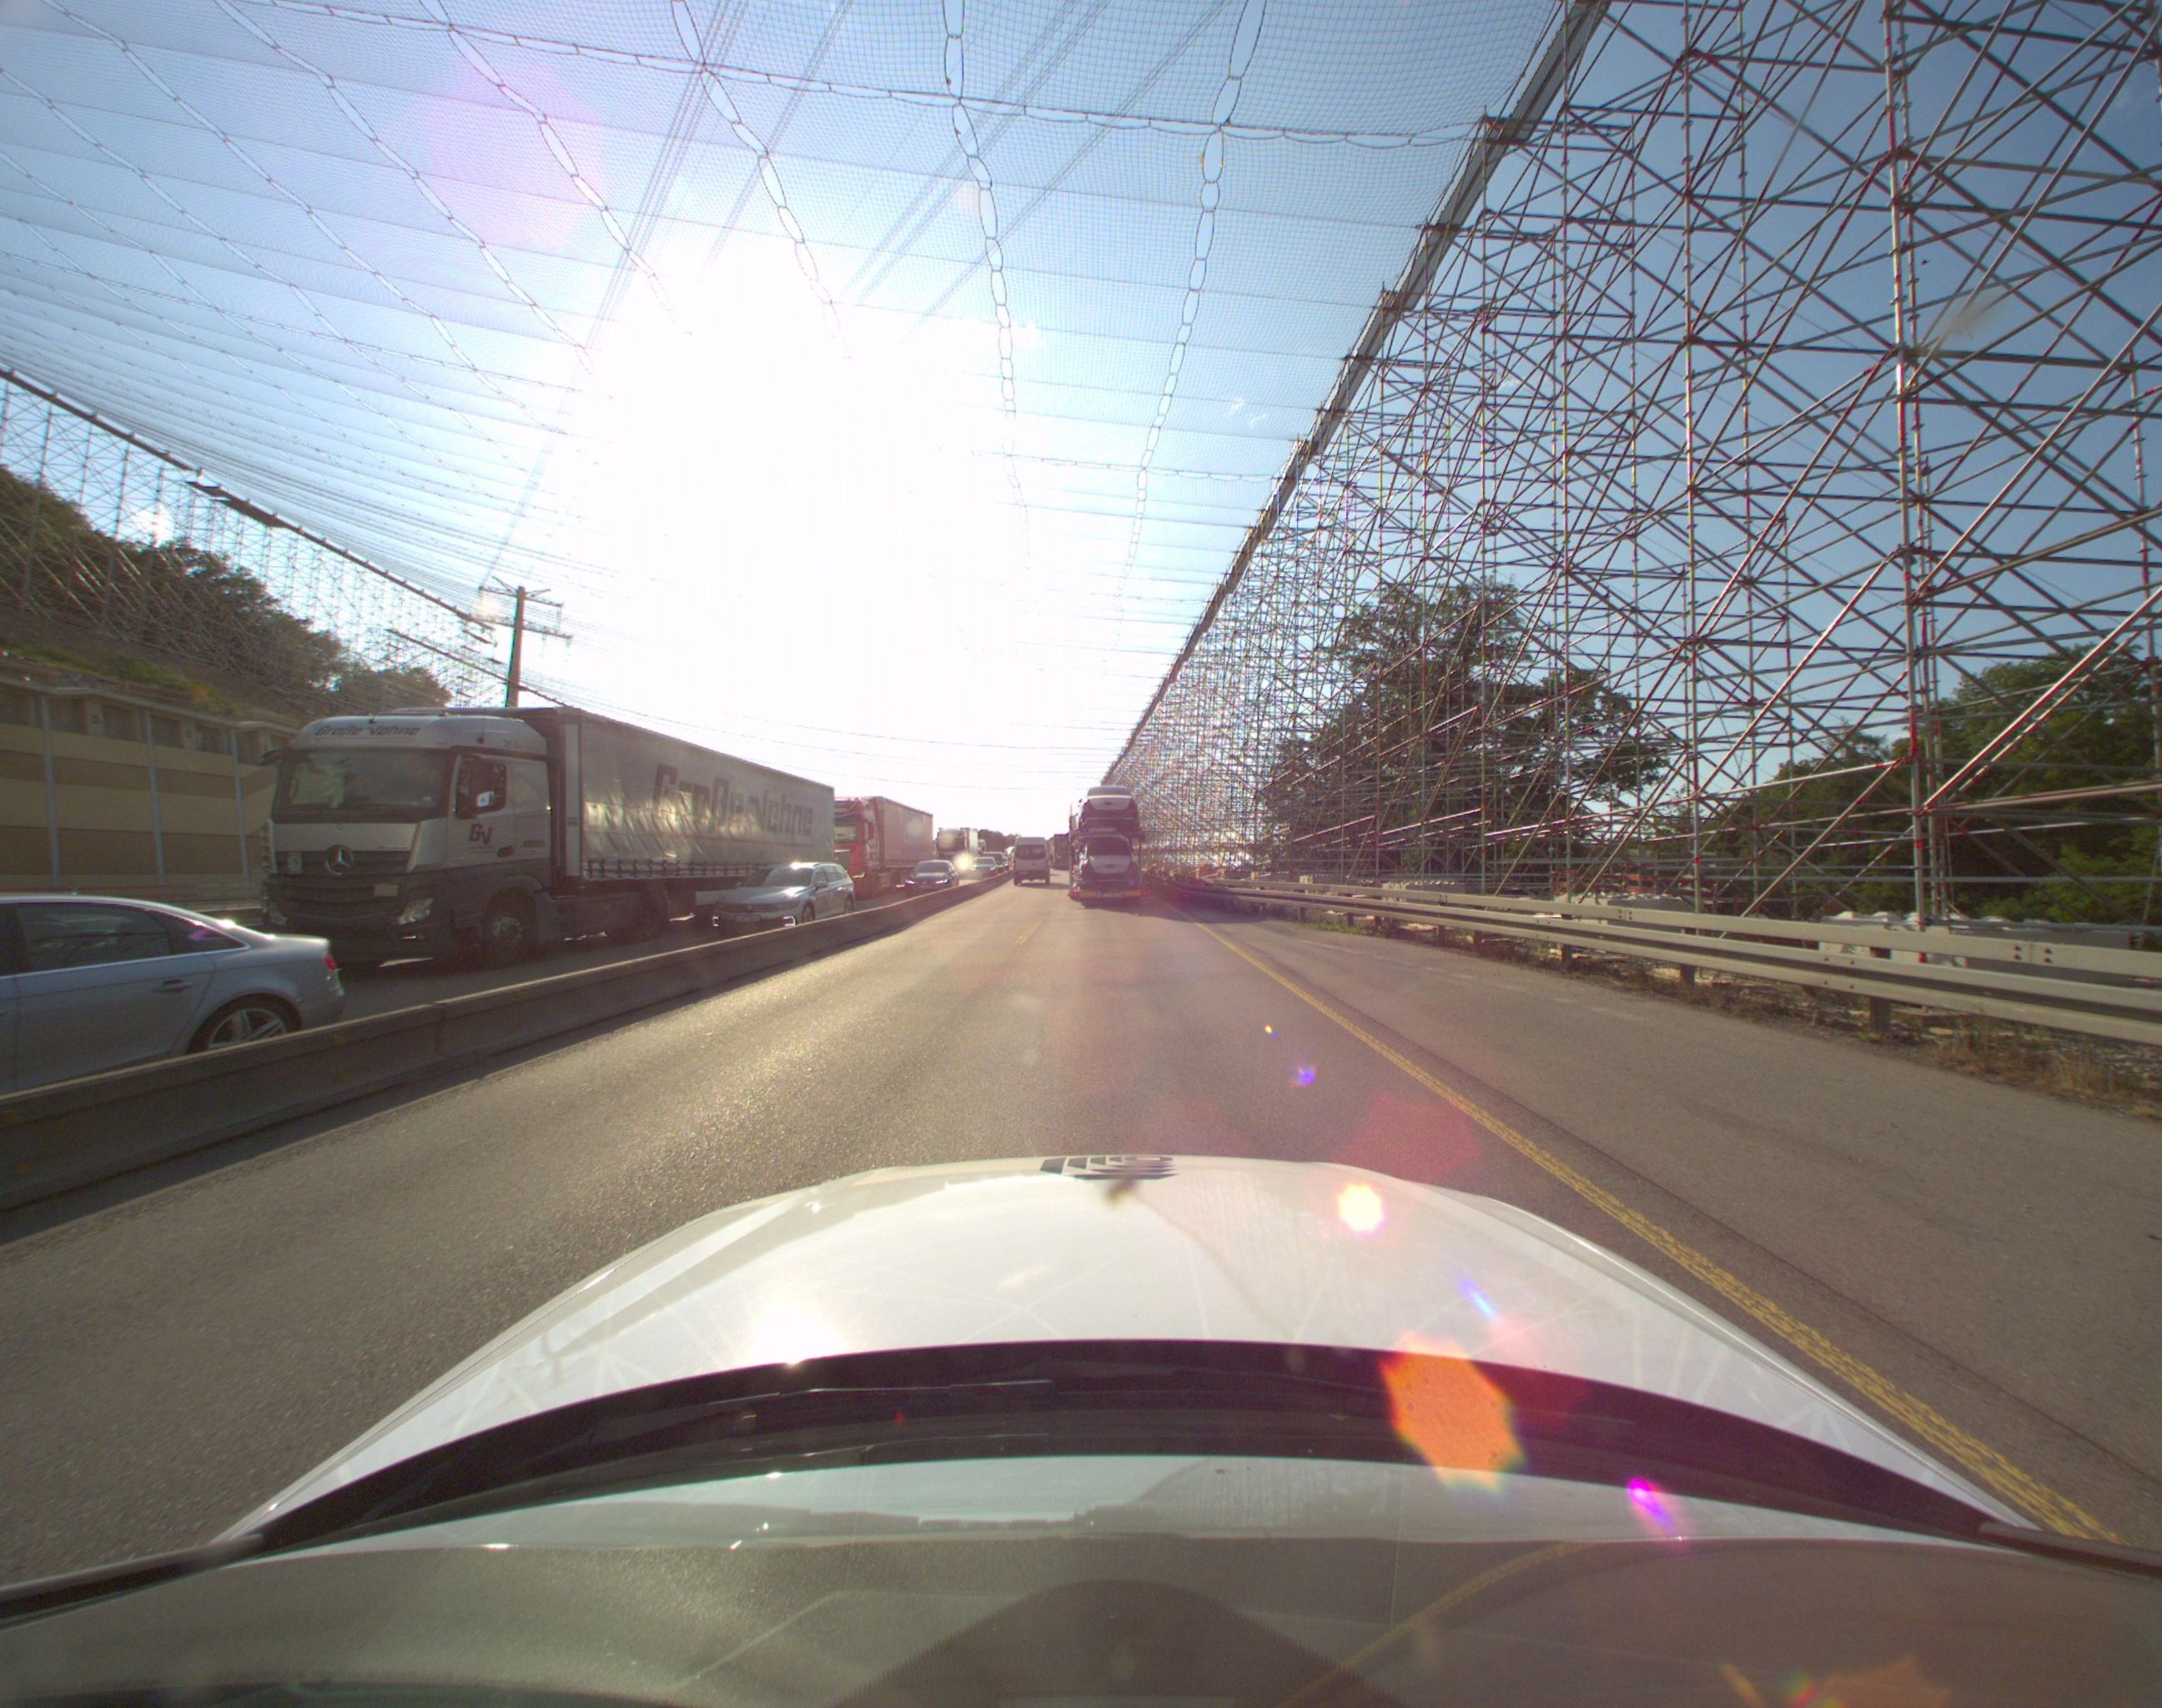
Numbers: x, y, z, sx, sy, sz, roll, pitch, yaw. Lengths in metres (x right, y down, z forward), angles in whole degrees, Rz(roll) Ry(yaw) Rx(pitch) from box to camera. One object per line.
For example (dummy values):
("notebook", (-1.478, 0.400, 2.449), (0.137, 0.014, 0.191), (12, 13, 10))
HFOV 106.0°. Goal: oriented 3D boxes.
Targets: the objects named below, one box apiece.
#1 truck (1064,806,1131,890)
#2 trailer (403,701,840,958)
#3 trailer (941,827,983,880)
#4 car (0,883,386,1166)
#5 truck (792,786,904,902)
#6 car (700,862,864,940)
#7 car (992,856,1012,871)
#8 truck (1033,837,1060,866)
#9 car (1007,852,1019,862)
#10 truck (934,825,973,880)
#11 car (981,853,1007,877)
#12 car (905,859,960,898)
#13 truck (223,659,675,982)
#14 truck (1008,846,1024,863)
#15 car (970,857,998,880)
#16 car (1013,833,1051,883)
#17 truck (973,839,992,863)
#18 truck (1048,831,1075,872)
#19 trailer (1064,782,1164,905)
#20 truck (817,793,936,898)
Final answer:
("truck", (0.657, -0.243, 39.848), (2.874, 3.702, 7.320), (-1, -1, -1))
("trailer", (-9.577, -0.328, 20.273), (2.789, 4.141, 13.966), (-1, -1, 1))
("trailer", (-10.522, -0.010, 73.038), (2.648, 4.233, 13.898), (0, 0, -4))
("car", (-6.473, 0.917, 4.049), (1.725, 1.377, 4.892), (1, 0, 1))
("truck", (-9.095, -0.333, 32.645), (2.780, 4.141, 6.672), (-1, -1, -3))
("car", (-6.393, 0.927, 18.102), (1.726, 1.439, 4.839), (1, 0, 1))
("car", (-8.079, 0.938, 83.403), (1.780, 1.502, 4.748), (0, 0, -3))
("truck", (-5.660, -0.365, 131.677), (3.680, 4.220, 13.648), (-4, 0, -4))
("car", (-11.405, 0.581, 135.625), (1.710, 1.618, 3.491), (-1, -1, -9))
("truck", (-10.294, -0.118, 66.232), (2.658, 4.230, 6.094), (-1, -1, -5))
("car", (-7.324, 0.902, 68.954), (1.870, 1.935, 4.857), (0, 0, -3))
("car", (-6.056, 0.964, 33.567), (1.646, 1.464, 4.395), (0, 0, -3))
("truck", (-9.662, -0.405, 13.500), (2.778, 4.141, 5.933), (-1, -1, 0))
("truck", (-14.752, 0.155, 183.684), (2.617, 3.723, 9.624), (0, 0, -10))
("car", (-6.841, 1.016, 57.746), (1.739, 1.535, 4.262), (0, 0, -3))
("car", (-2.728, 0.258, 45.306), (1.952, 2.621, 3.994), (-2, -1, -4))
("truck", (-15.210, -0.429, 125.138), (2.593, 3.473, 12.356), (0, 0, -8))
("truck", (-2.317, -0.266, 94.990), (2.726, 4.385, 11.506), (0, 0, -4))
("trailer", (0.857, -0.238, 32.253), (2.861, 3.725, 14.936), (-1, -1, -2))
("truck", (-9.363, -0.261, 39.395), (2.780, 4.141, 13.794), (-1, -1, -2))
